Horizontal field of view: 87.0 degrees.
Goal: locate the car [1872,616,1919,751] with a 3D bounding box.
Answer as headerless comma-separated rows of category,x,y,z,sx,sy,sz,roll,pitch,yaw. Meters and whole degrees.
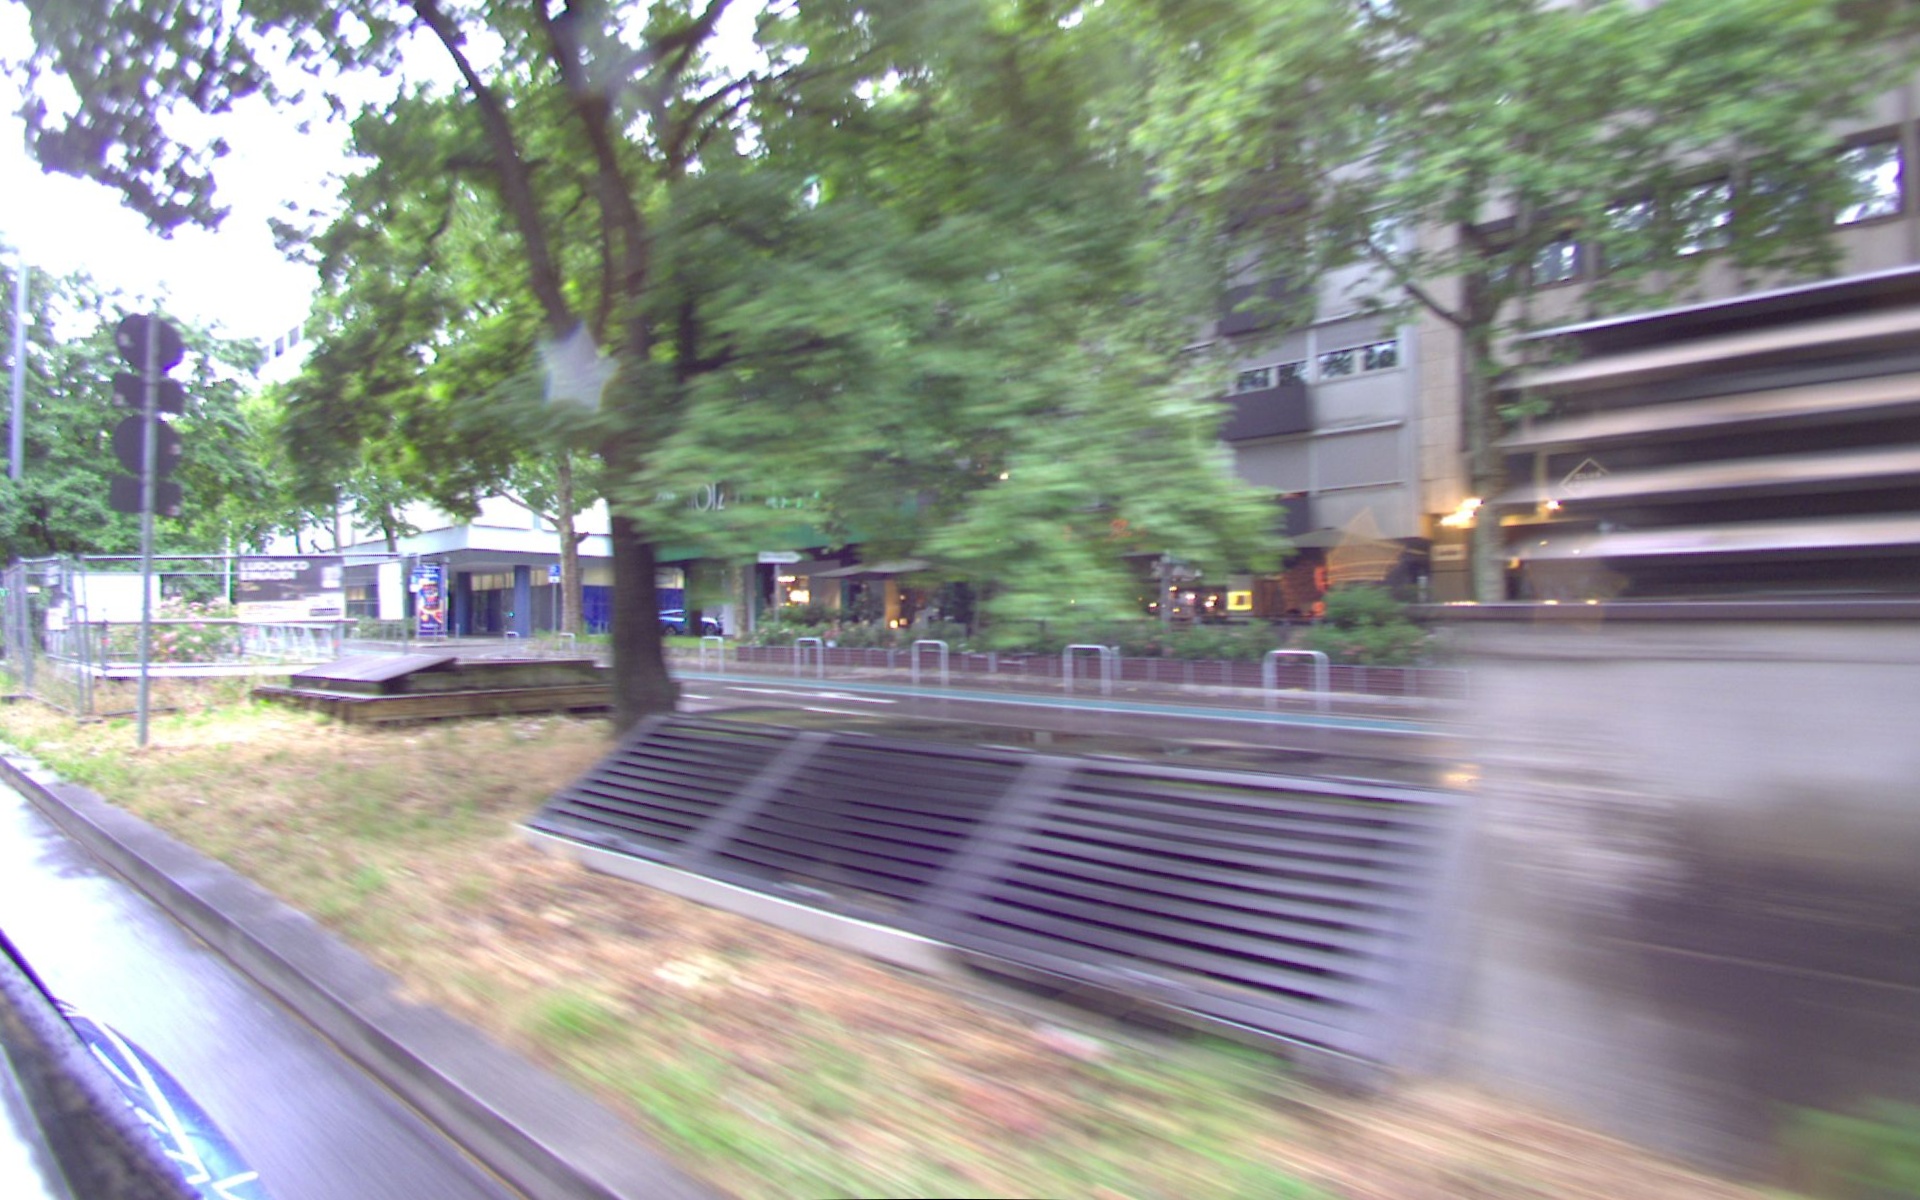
car,12.088,0.856,10.021,4.482,1.405,1.806,-1,-1,41

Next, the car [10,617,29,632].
car,-96.278,2.493,103.570,3.561,1.473,1.148,-2,-2,43
